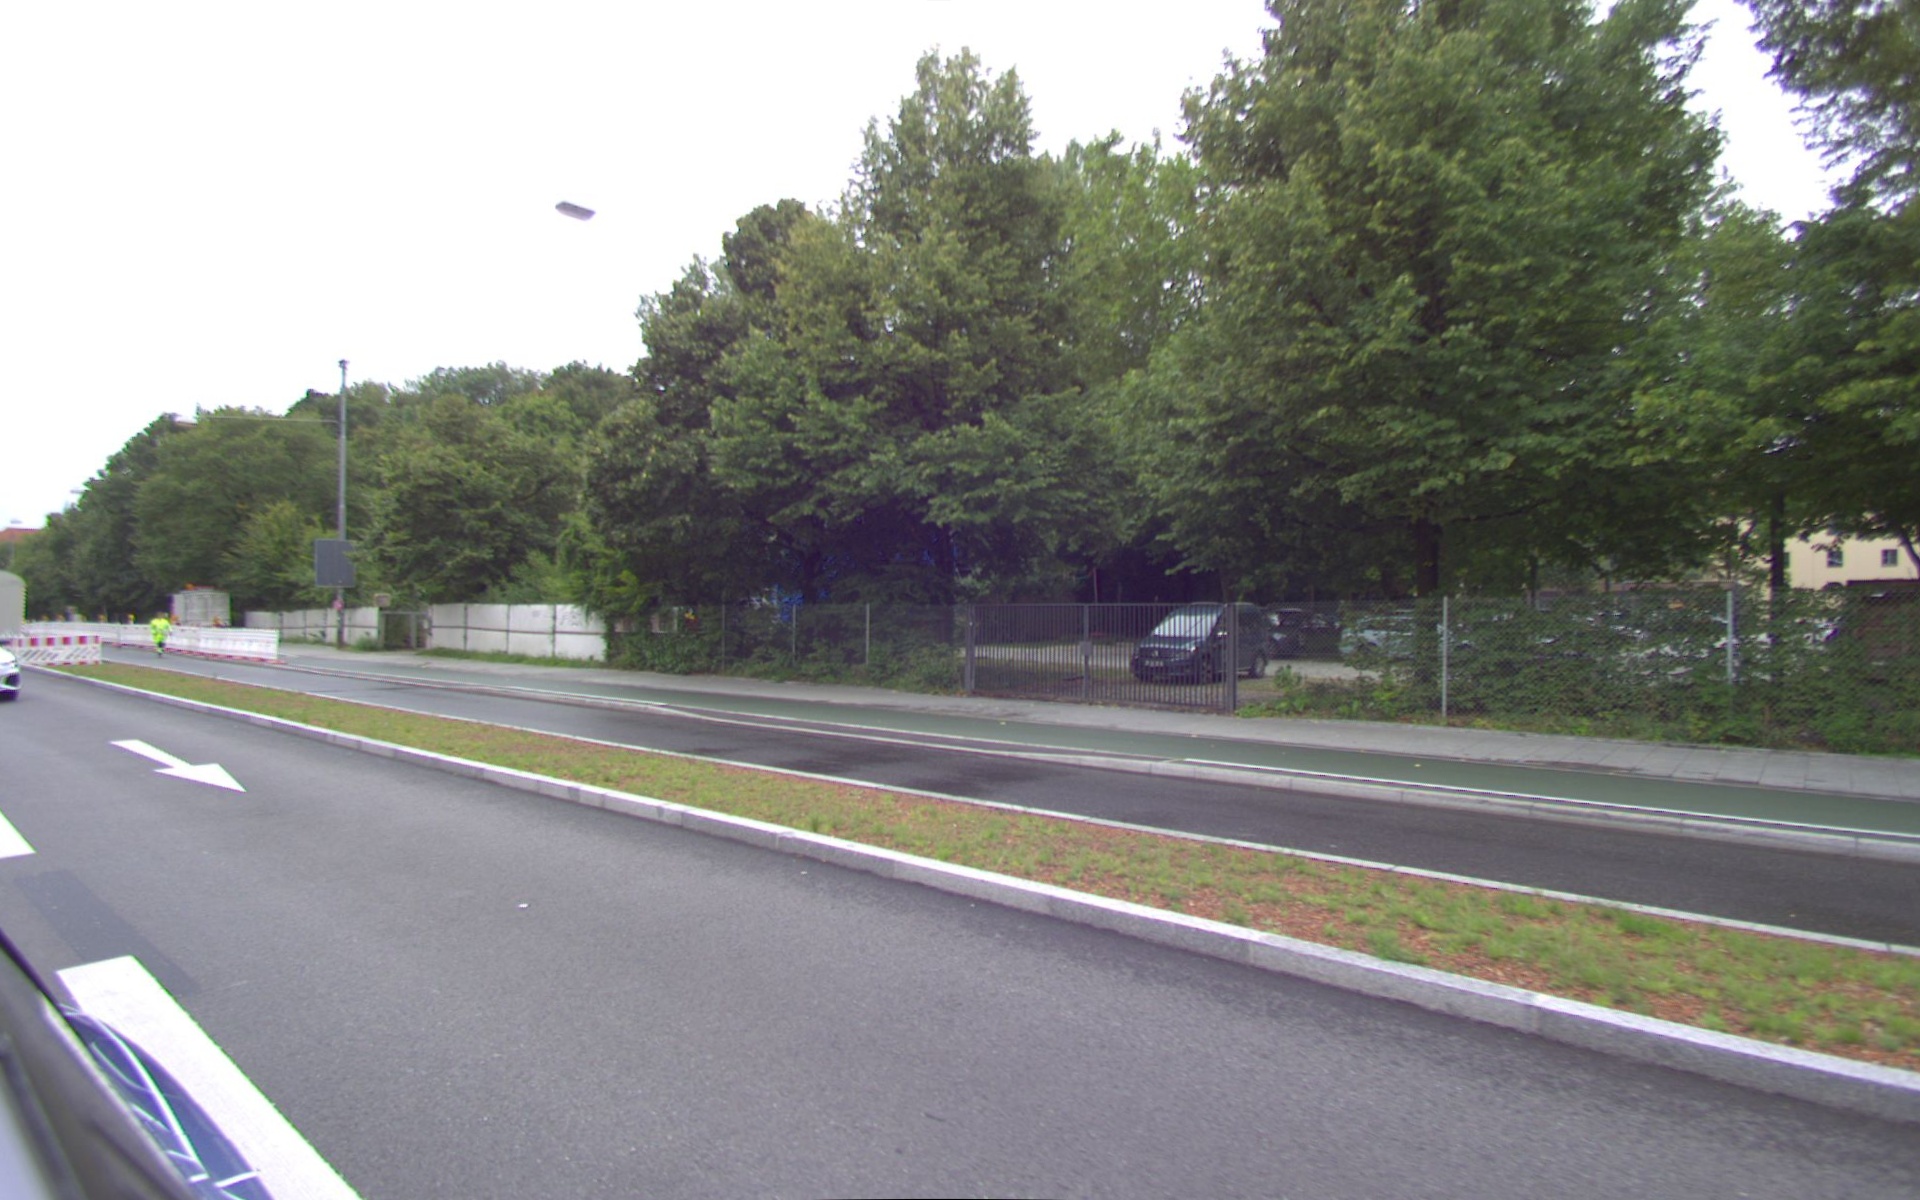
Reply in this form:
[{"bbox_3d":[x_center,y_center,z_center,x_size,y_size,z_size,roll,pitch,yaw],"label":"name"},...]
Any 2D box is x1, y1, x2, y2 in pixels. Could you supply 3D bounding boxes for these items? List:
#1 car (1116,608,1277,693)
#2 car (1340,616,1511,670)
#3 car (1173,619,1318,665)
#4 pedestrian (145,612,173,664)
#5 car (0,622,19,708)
[{"bbox_3d":[5.648,1.108,23.917,1.877,1.722,3.981,2,1,45],"label":"car"},{"bbox_3d":[13.787,1.225,30.088,4.257,1.459,1.974,-1,-1,39],"label":"car"},{"bbox_3d":[9.531,1.372,33.915,4.257,1.414,1.974,-1,-1,39],"label":"car"},{"bbox_3d":[-32.113,1.502,40.560,0.867,2.029,0.747,-1,-1,41],"label":"pedestrian"},{"bbox_3d":[-18.056,1.118,17.680,4.447,1.435,1.795,-1,0,39],"label":"car"}]
